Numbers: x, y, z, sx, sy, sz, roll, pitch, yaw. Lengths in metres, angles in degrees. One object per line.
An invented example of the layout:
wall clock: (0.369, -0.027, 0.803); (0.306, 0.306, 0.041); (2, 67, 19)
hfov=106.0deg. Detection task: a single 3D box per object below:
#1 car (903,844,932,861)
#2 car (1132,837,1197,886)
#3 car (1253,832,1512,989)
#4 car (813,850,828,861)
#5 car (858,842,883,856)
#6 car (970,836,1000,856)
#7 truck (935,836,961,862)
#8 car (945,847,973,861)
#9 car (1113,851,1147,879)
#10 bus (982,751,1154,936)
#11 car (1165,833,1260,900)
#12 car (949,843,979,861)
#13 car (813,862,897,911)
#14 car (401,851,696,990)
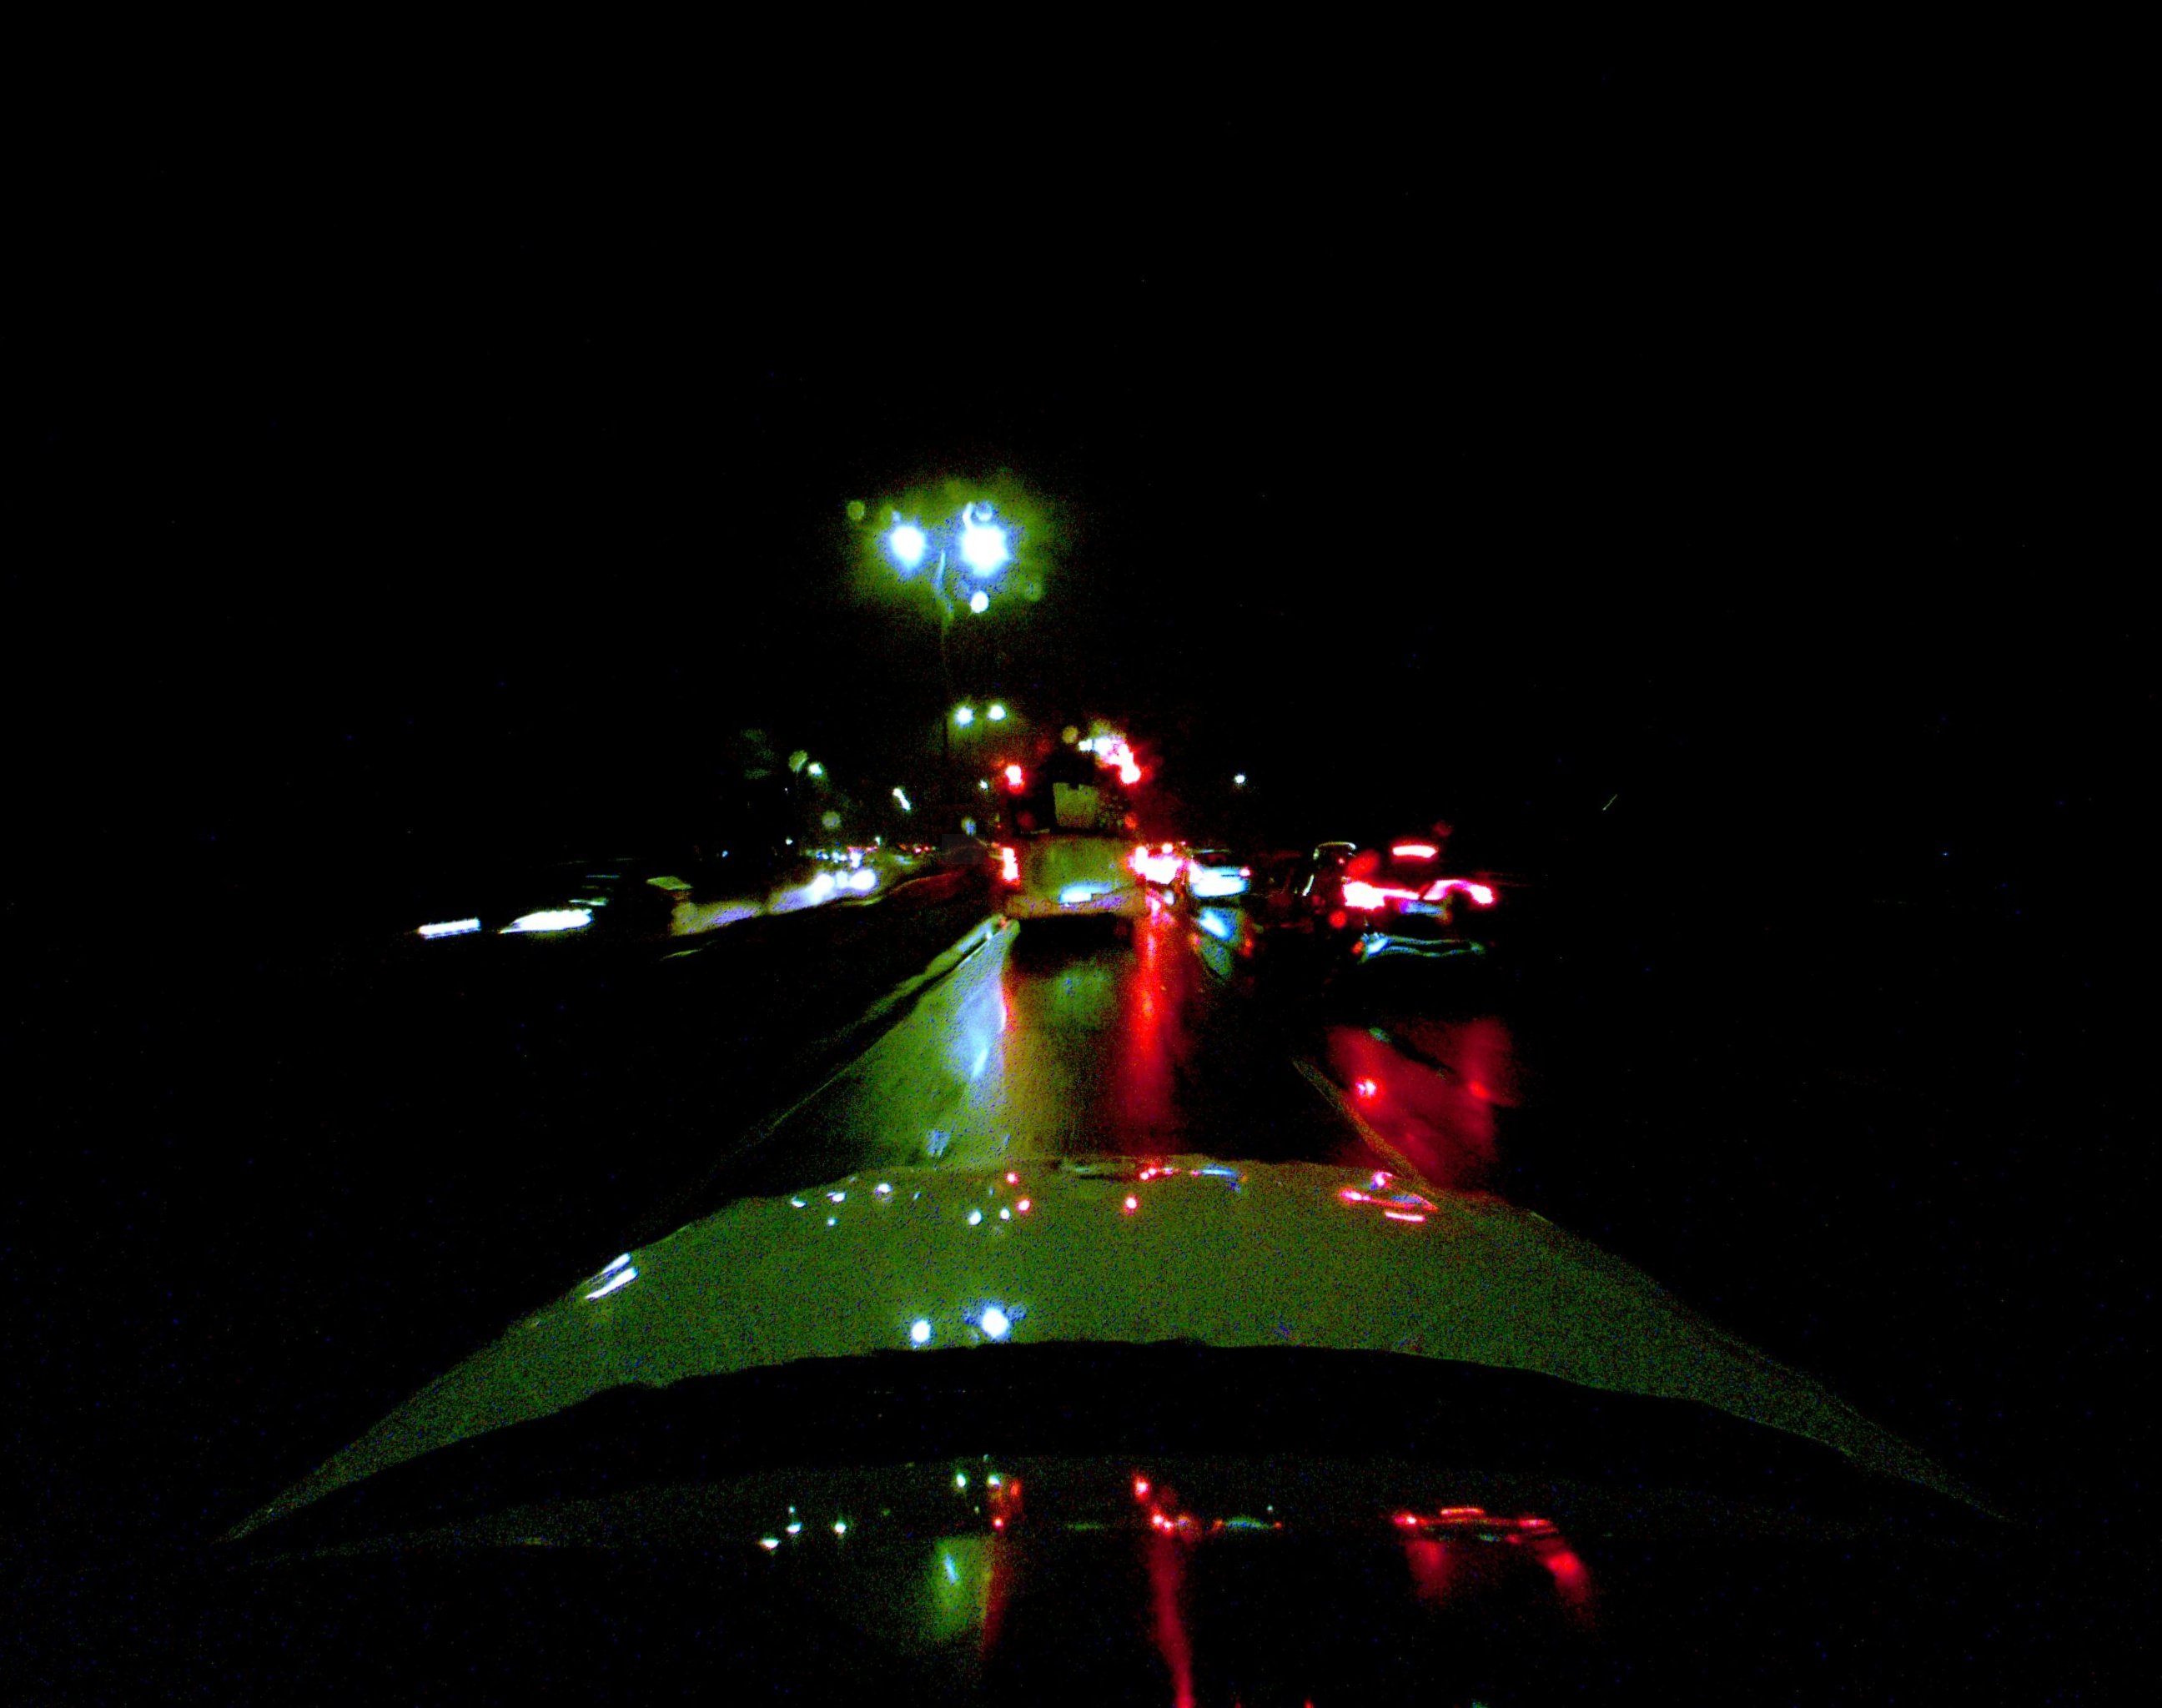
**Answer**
car: (-20.487, -0.124, 101.807); (2.227, 2.013, 3.958); (-2, 0, -33)
car: (2.962, 0.231, 29.564); (1.815, 1.590, 3.774); (-2, 0, -2)
car: (3.435, 0.548, 10.079); (1.734, 1.564, 3.774); (0, 0, -2)
car: (-42.244, 0.180, 132.198); (1.996, 1.686, 3.982); (1, 1, -14)
car: (-29.745, -0.711, 115.080); (2.009, 2.014, 3.955); (0, 0, -38)
car: (-9.828, -0.793, 83.441); (2.002, 2.014, 3.968); (0, 0, -24)
truck: (-14.062, -0.559, 85.943); (1.861, 2.392, 4.751); (-3, 4, -18)
car: (-13.713, 0.003, 91.365); (1.764, 1.631, 3.584); (0, 0, -35)
car: (2.920, 0.637, 49.196); (1.774, 1.543, 3.874); (-1, 0, 0)
bus: (-0.211, -0.204, 17.763); (2.806, 3.024, 8.686); (-1, 0, 0)
car: (3.435, 0.287, 21.936); (1.815, 1.590, 3.774); (-2, 0, -2)
car: (-13.870, -0.227, 96.611); (2.007, 2.013, 3.959); (-2, 1, -32)
car: (-7.967, 1.094, 29.105); (1.812, 1.394, 4.457); (-5, 1, -3)
car: (-7.723, 0.837, 12.383); (1.804, 1.568, 3.997); (-5, 1, -2)
